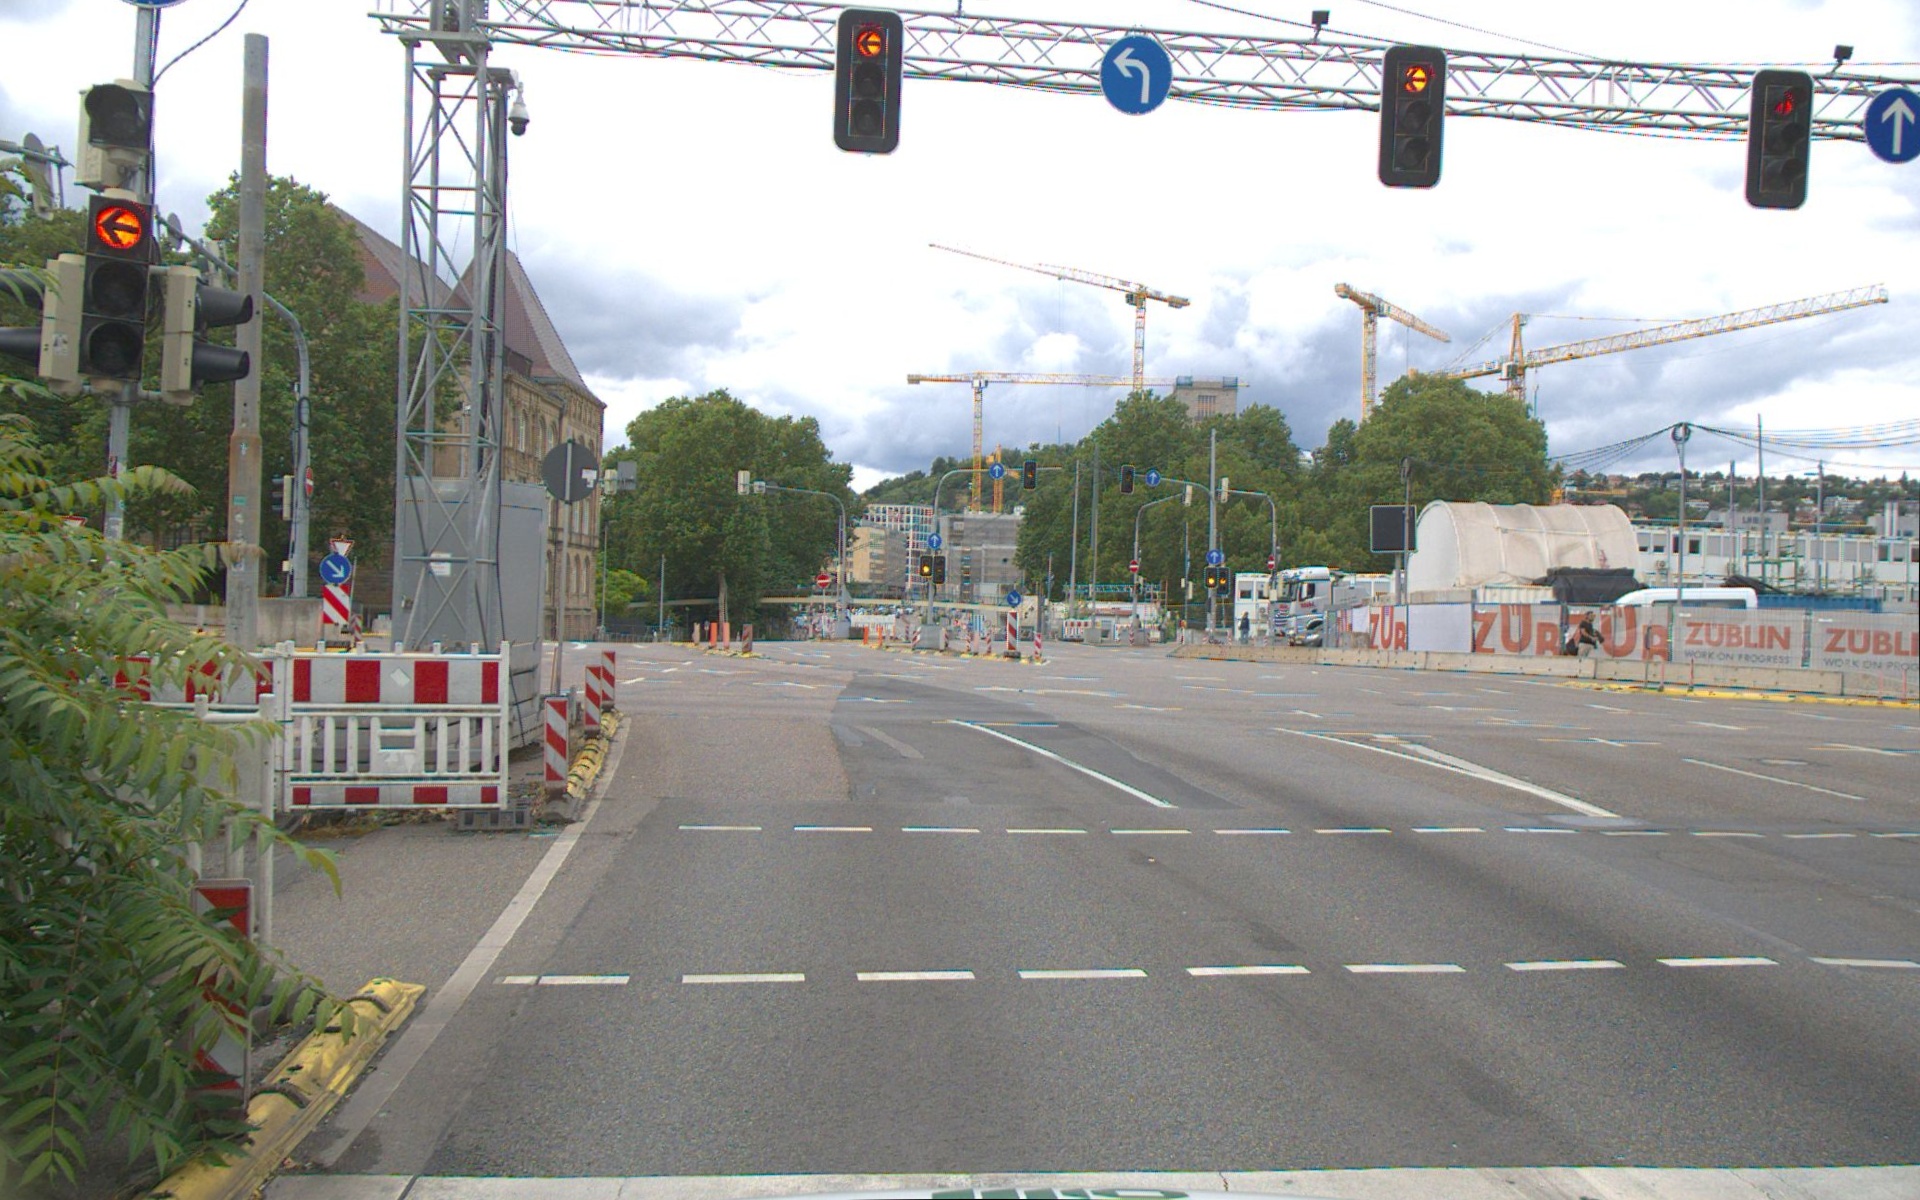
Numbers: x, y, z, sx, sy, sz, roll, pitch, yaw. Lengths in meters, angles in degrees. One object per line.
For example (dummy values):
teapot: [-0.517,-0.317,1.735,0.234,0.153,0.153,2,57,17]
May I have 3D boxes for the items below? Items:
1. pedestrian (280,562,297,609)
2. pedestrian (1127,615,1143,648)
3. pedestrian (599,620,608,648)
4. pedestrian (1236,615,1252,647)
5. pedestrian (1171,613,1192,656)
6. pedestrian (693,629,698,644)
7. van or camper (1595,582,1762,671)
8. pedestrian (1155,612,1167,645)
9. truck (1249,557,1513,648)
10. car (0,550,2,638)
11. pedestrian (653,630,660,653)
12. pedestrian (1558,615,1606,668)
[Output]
pedestrian: [-29.612,-0.622,72.973,0.523,2.049,0.421,2,0,-44]
pedestrian: [9.296,1.648,87.838,0.714,1.718,0.677,2,0,-1]
pedestrian: [-26.508,2.517,123.031,0.513,2.049,0.566,1,0,-1]
pedestrian: [15.213,1.648,88.607,0.609,1.718,0.710,2,0,28]
pedestrian: [9.070,1.404,67.593,0.714,1.718,0.677,2,0,-1]
pedestrian: [-28.512,3.933,178.347,0.525,1.620,0.515,1,0,-5]
van or camper: [20.731,0.743,47.912,4.123,2.398,2.002,1,0,14]
pedestrian: [10.740,1.531,88.392,0.555,1.718,0.471,2,0,-1]
truck: [21.003,0.163,82.321,12.837,4.111,3.927,1,0,-21]
car: [-19.707,-0.126,29.355,4.239,1.705,1.993,2,0,-14]
pedestrian: [-28.217,3.854,153.569,0.513,2.049,0.566,1,0,-1]
pedestrian: [16.771,1.113,44.607,0.789,1.402,0.895,2,0,-33]
